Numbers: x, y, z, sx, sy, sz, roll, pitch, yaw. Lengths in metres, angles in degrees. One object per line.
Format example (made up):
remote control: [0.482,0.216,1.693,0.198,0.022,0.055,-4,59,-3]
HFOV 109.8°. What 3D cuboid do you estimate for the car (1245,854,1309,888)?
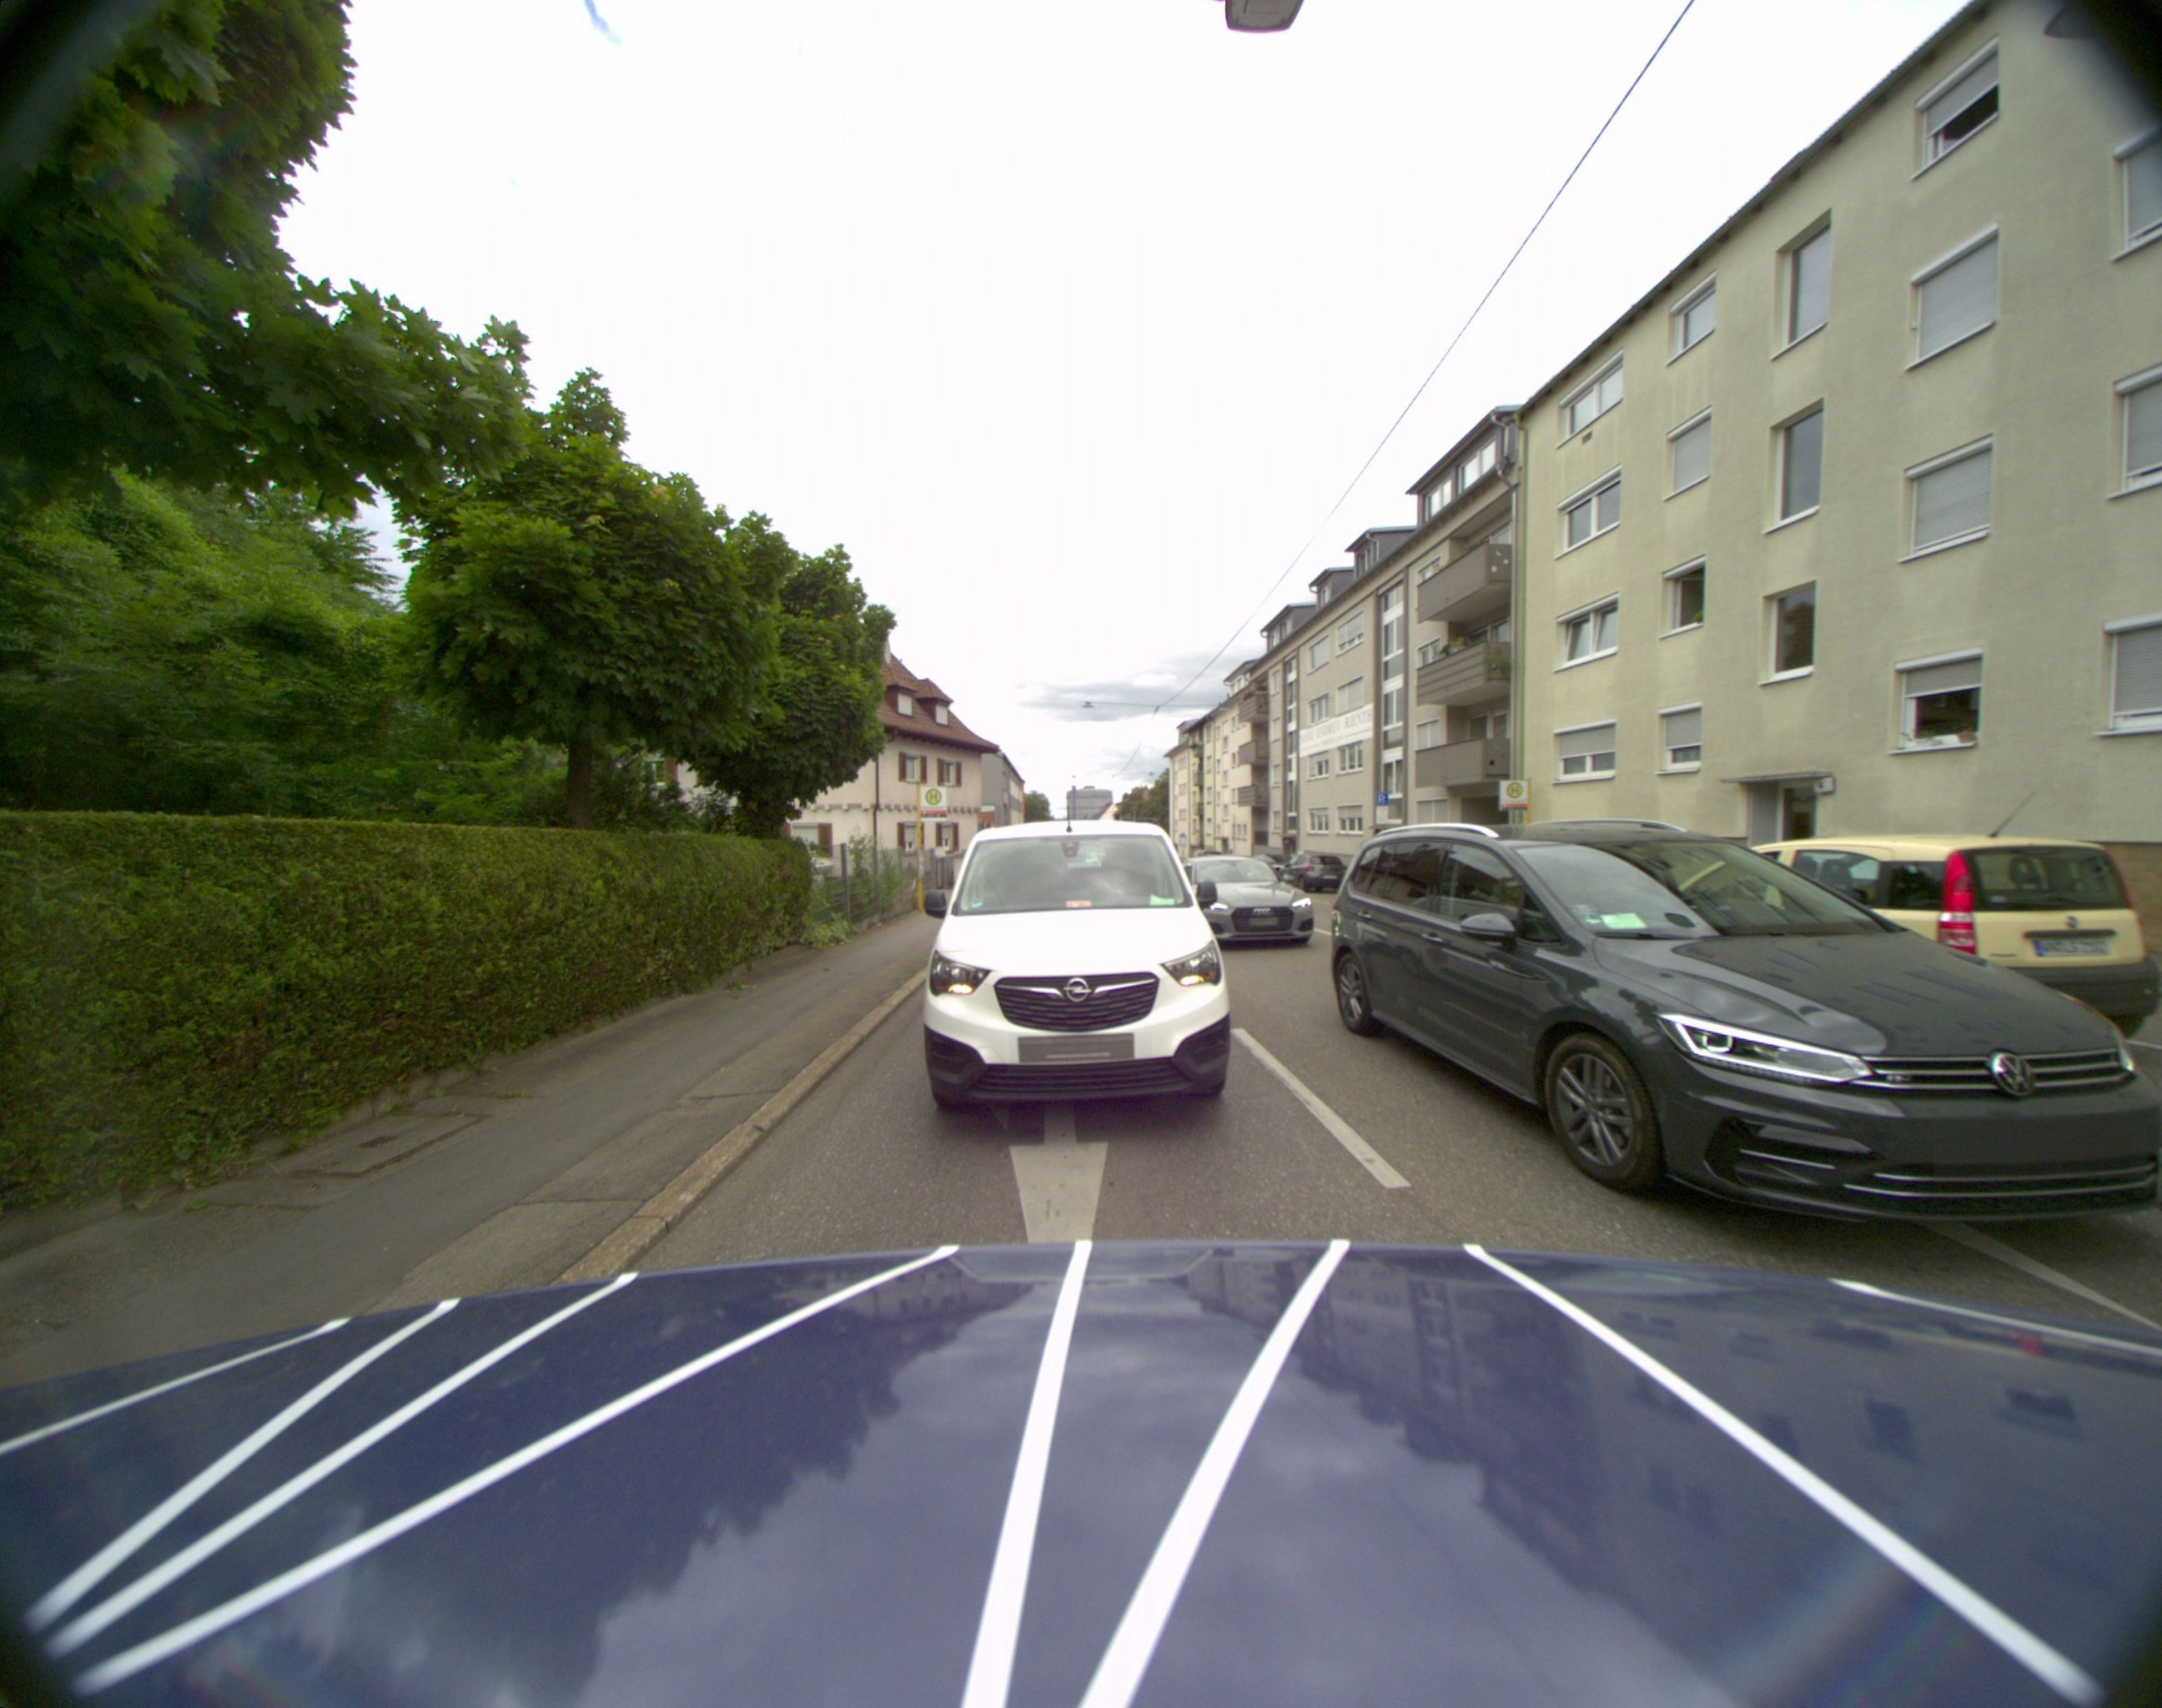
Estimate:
car: [8.663,0.703,33.869,1.669,1.368,3.538,1,1,-5]

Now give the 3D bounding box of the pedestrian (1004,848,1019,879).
pedestrian: [-4.100,0.549,45.051,0.646,1.830,0.593,-1,1,23]

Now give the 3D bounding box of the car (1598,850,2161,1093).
car: [6.503,0.744,6.554,1.602,1.509,3.458,0,1,-2]

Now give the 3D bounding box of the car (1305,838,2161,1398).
car: [3.010,0.750,4.503,1.863,1.601,4.478,-2,1,-2]

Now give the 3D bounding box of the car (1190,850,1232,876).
car: [8.350,0.547,49.029,1.776,1.591,3.538,1,1,-5]

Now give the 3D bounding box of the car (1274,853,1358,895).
car: [8.841,0.714,28.921,1.776,1.403,3.685,1,1,-5]

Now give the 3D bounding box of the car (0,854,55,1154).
car: [-6.618,0.787,2.523,1.698,1.452,3.444,-1,1,22]

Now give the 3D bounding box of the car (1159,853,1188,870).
car: [8.011,0.646,65.953,1.776,1.395,3.757,1,1,-5]

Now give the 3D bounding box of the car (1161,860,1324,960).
car: [2.519,0.815,12.893,1.882,1.347,4.146,-1,0,0]

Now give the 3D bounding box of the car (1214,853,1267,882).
car: [8.316,0.674,39.896,1.776,1.395,3.538,1,1,-5]

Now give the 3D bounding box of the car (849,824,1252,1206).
car: [-0.115,0.739,5.970,1.862,1.772,4.711,-2,1,1]
